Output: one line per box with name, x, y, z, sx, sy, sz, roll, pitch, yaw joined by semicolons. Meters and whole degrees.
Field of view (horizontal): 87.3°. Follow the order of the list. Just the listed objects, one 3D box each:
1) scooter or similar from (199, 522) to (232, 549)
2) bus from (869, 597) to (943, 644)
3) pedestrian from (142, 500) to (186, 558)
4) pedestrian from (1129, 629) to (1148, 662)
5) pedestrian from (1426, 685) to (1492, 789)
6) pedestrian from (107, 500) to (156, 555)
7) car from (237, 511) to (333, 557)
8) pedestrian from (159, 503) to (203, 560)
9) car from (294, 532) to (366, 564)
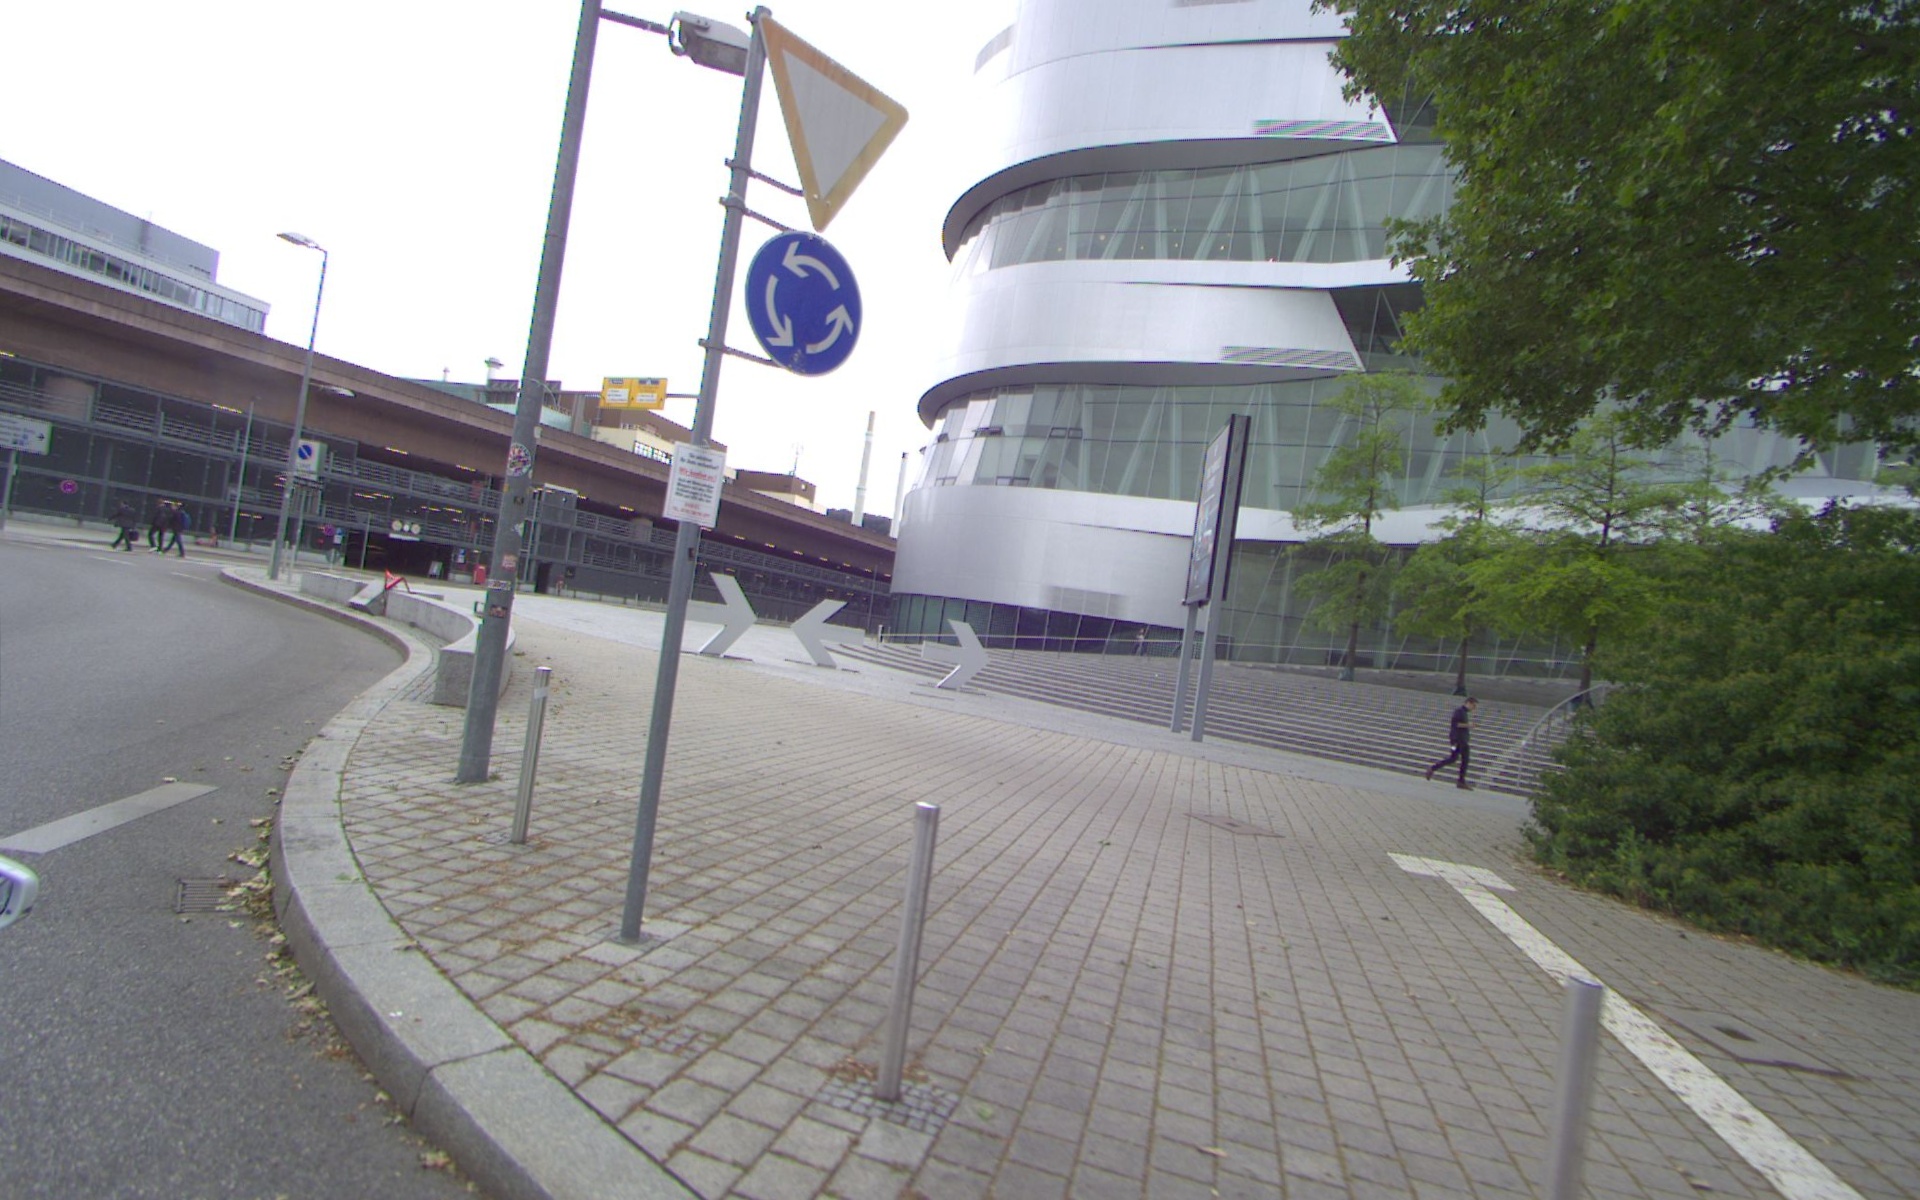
scooter or similar;-39.358;-3.391;53.172;0.349;1.208;1.234;7;-2;28
bus;-5.822;2.352;111.028;2.709;3.977;11.089;7;-3;26
pedestrian;-26.338;-2.357;33.278;0.680;1.760;0.831;7;-2;40
pedestrian;10.425;2.654;58.846;0.704;1.842;0.622;8;-1;-10
pedestrian;9.527;2.610;19.229;0.614;1.842;0.713;8;-2;-18
pedestrian;-26.541;-2.327;32.233;0.677;1.588;0.834;7;-2;22
car;-39.412;-3.835;58.830;1.966;1.925;3.998;8;-2;29
pedestrian;-26.493;-2.328;34.211;0.679;1.760;0.832;7;-2;36
car;-47.411;-3.903;75.777;1.966;1.591;3.998;8;-2;29
